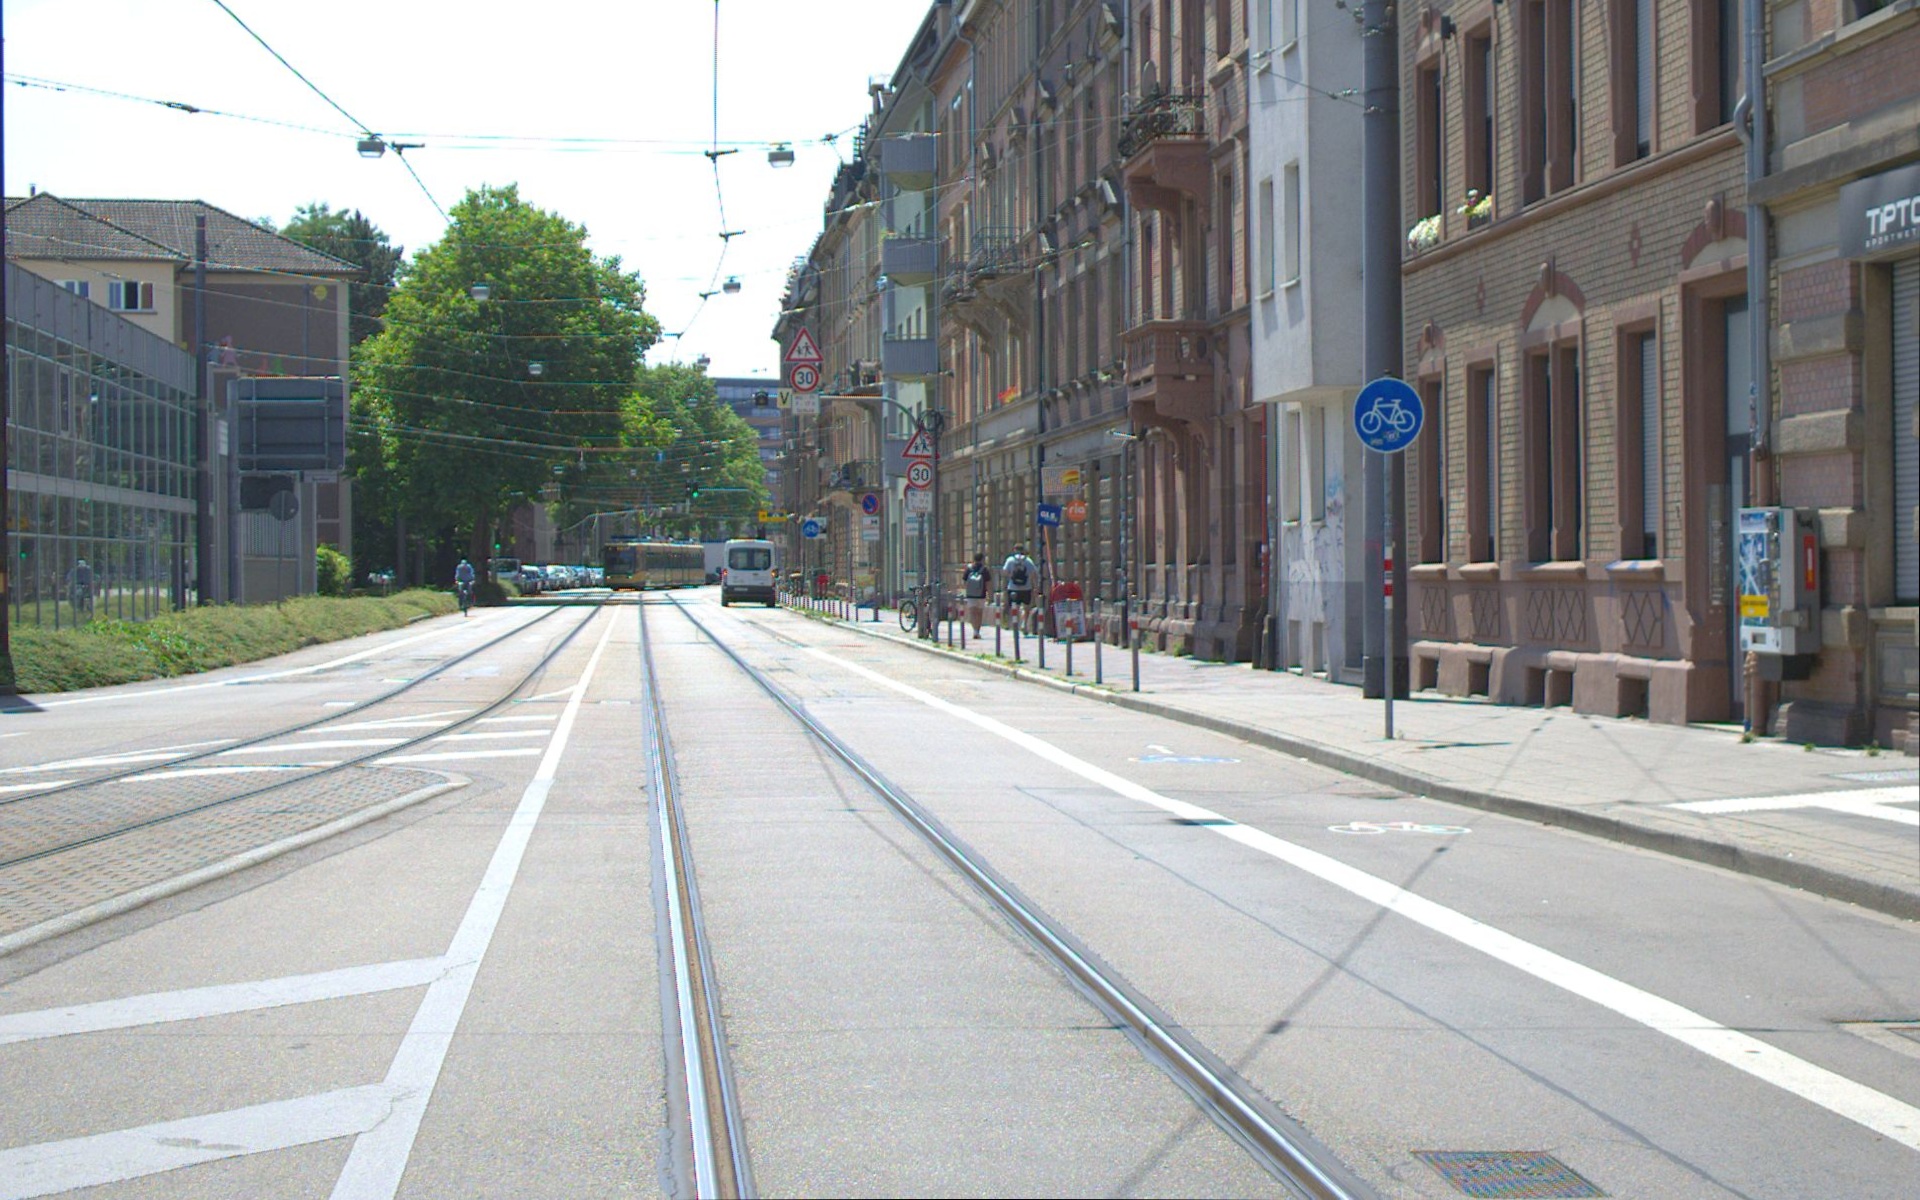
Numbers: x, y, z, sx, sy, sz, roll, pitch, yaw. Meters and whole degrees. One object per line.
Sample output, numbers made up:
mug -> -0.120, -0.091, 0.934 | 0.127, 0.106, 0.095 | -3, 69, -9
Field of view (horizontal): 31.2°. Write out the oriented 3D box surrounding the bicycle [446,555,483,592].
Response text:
bicycle -> -15.678, -0.839, 108.759 | 0.698, 1.141, 2.495 | -1, 1, 2

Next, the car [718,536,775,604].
car -> -8.128, -1.131, 130.724 | 2.067, 2.492, 5.455 | 1, 0, -4

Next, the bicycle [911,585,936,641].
bicycle -> -0.737, 0.251, 70.204 | 0.447, 1.093, 2.423 | -1, 1, 0

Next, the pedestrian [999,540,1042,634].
pedestrian -> 1.216, -0.269, 69.323 | 0.702, 1.842, 0.644 | -4, 1, -4

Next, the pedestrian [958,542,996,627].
pedestrian -> 0.341, -0.316, 69.352 | 0.720, 1.714, 0.644 | -1, 0, -4

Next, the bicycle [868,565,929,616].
bicycle -> -1.383, -0.222, 77.682 | 0.499, 1.127, 2.240 | -1, 1, 23

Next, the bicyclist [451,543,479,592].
bicyclist -> -15.679, -1.034, 108.934 | 0.698, 1.543, 0.980 | -1, 0, 2

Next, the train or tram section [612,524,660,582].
train or tram section -> -20.778, -2.986, 219.984 | 2.960, 3.568, 13.426 | 0, 1, -6
